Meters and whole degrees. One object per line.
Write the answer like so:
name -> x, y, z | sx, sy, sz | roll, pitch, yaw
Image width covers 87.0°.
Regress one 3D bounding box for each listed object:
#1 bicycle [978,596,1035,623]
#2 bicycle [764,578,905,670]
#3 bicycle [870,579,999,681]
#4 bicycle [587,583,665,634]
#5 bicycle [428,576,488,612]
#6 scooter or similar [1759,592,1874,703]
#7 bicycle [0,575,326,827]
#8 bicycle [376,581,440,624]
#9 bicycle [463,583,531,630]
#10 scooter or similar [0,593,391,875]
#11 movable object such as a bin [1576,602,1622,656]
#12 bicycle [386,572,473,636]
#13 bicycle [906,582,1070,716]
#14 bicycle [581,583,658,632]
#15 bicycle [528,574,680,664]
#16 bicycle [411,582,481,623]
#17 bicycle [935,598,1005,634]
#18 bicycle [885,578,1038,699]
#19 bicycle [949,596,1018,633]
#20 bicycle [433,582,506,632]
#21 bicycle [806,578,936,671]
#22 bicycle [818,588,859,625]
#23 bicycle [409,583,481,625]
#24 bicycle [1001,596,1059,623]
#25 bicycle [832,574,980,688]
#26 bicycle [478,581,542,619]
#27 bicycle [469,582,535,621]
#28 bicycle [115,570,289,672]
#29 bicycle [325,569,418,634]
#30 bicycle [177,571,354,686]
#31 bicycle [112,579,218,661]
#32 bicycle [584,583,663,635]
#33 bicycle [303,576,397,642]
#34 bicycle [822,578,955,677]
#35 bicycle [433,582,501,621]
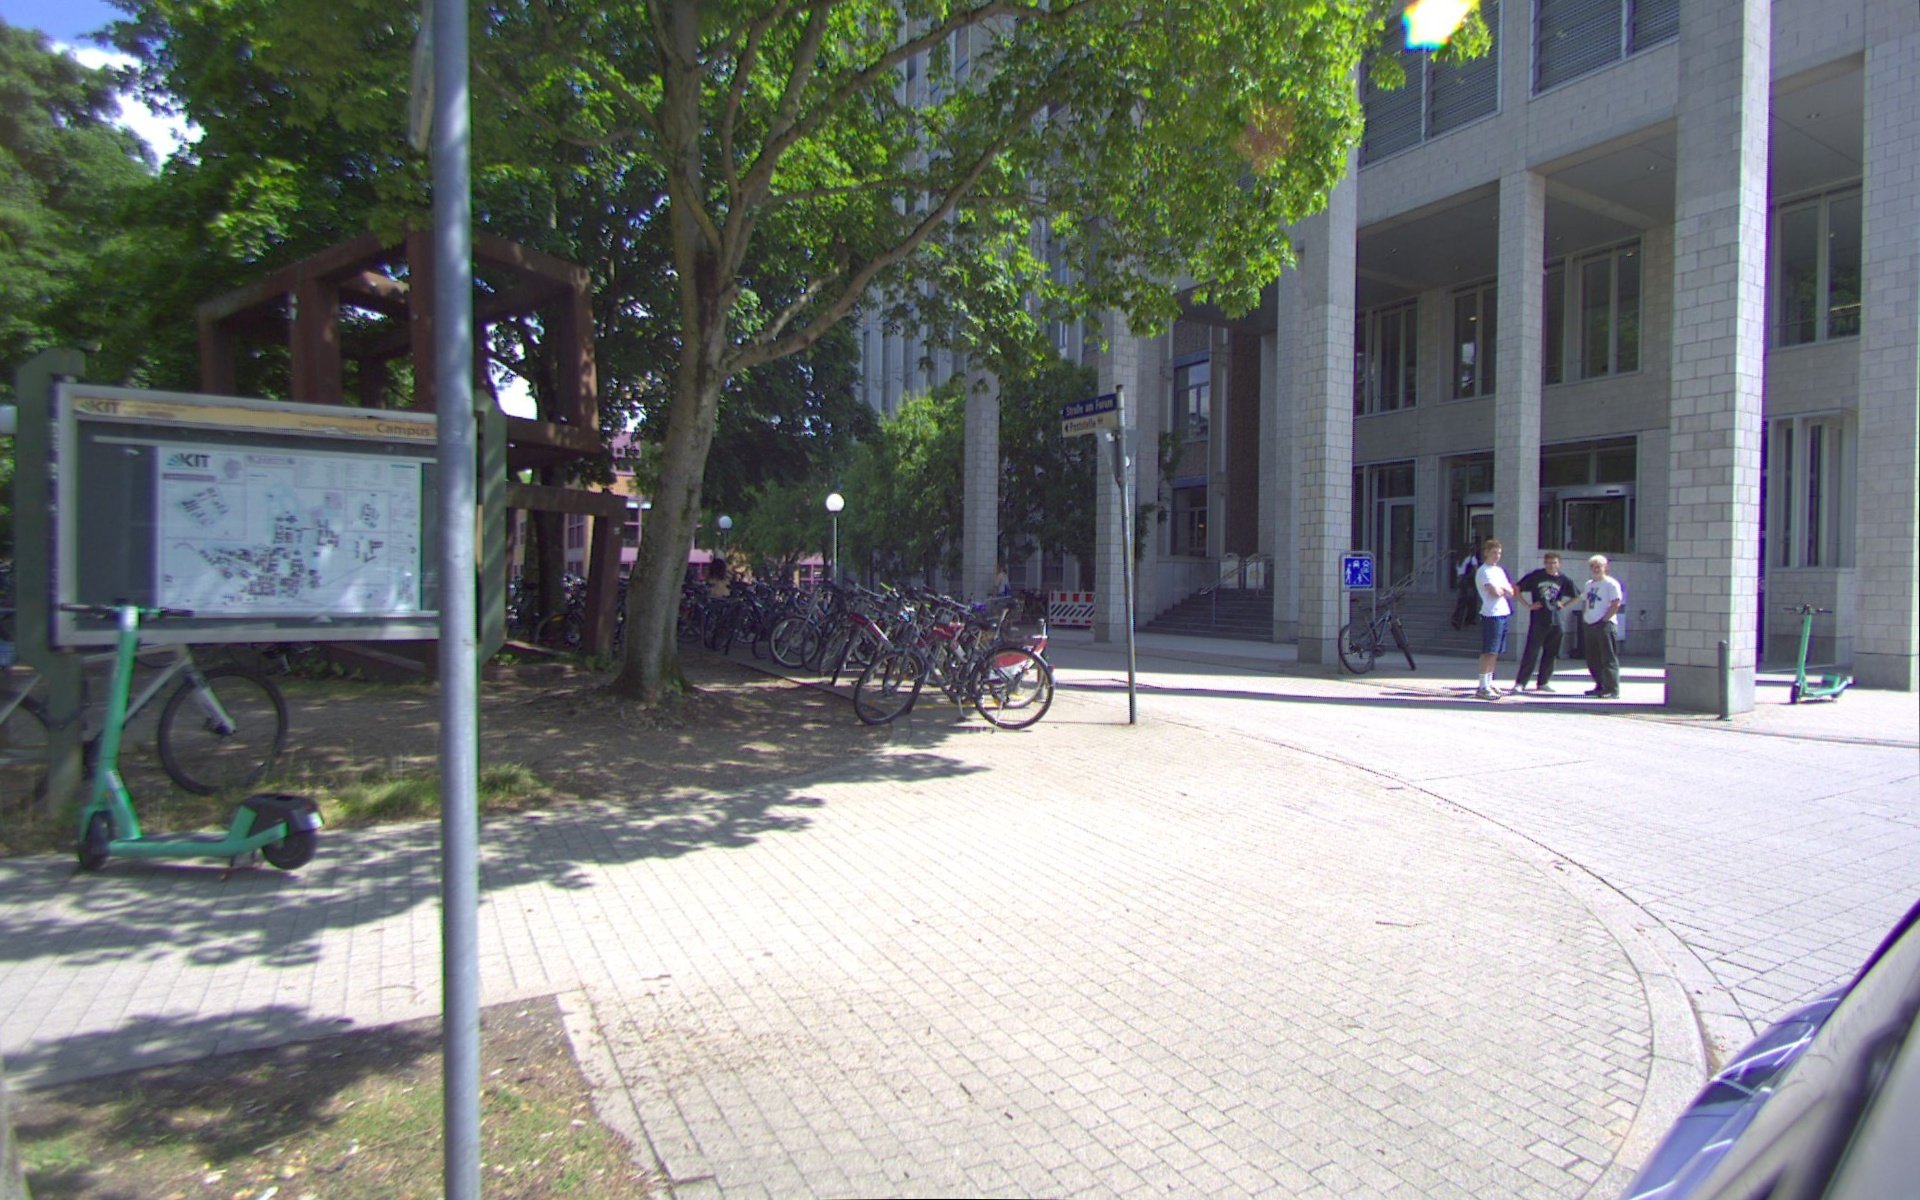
bicycle -> 1.450, 0.286, 31.890 | 0.632, 0.769, 1.988 | 1, 1, -39
bicycle -> -1.584, 0.310, 12.840 | 1.661, 1.099, 0.483 | 2, 1, -25
bicycle -> -0.282, 0.336, 11.596 | 1.412, 1.099, 0.461 | 2, 1, -33
bicycle -> -7.767, 0.208, 23.554 | 1.656, 1.144, 0.478 | 1, -3, -35
bicycle -> -15.522, -0.182, 31.302 | 1.659, 1.098, 0.477 | 0, -2, 7
scooter or similar -> 10.282, 0.538, 12.136 | 1.481, 1.226, 0.565 | 0, 3, -31
bicycle -> -4.308, 0.459, 5.171 | 0.625, 1.097, 1.667 | -2, 2, 37
bicycle -> -14.363, 0.061, 26.323 | 1.443, 1.098, 0.353 | 0, -2, -2
bicycle -> -11.055, 0.150, 24.203 | 1.447, 1.097, 0.352 | 0, 0, -43
scooter or similar -> -3.312, 0.558, 4.413 | 1.335, 1.128, 0.498 | 2, 0, -5
movable object such as a bin -> 12.076, 0.544, 19.124 | 0.502, 0.961, 0.514 | 1, 3, -32
bicycle -> -10.299, 0.068, 19.627 | 1.823, 1.185, 0.411 | 1, 0, 22
bicycle -> 0.271, 0.417, 9.477 | 1.461, 1.155, 0.562 | -1, 3, -33
bicycle -> -8.082, 0.191, 24.049 | 1.656, 1.144, 0.478 | 1, -3, -35
bicycle -> -4.578, 0.246, 13.052 | 1.789, 1.091, 0.465 | 2, 1, -22
bicycle -> -13.940, 0.082, 27.455 | 1.657, 1.098, 0.478 | 0, -2, 2
bicycle -> 0.249, 0.404, 26.018 | 1.739, 0.911, 0.449 | 1, -1, -11
bicycle -> 0.027, 0.386, 10.409 | 1.460, 1.155, 0.562 | 2, 1, -33
bicycle -> 0.594, 0.353, 25.250 | 1.740, 0.911, 0.337 | -1, 0, -25
bicycle -> -11.071, 0.158, 22.847 | 1.443, 1.097, 0.353 | 0, 0, -34
bicycle -> -1.097, 0.304, 12.551 | 1.484, 1.099, 0.483 | 2, 1, -25
bicycle -> -3.827, 0.206, 31.794 | 0.559, 1.117, 1.835 | 2, -1, -32
bicycle -> -13.709, 0.117, 26.960 | 1.657, 1.098, 0.478 | 0, -2, 2
bicycle -> 2.208, 0.296, 32.162 | 0.632, 0.769, 1.988 | 1, 1, -39
bicycle -> -0.591, 0.327, 10.903 | 1.494, 1.155, 0.493 | 2, 1, -10
bicycle -> -13.133, 0.011, 29.523 | 1.657, 1.098, 0.478 | 0, -2, 2
bicycle -> -13.138, 0.035, 29.046 | 1.657, 1.098, 0.478 | 0, -2, 2
bicycle -> -9.040, 0.212, 12.148 | 0.470, 1.123, 1.658 | 0, 2, 23
bicycle -> -11.128, 0.022, 19.124 | 1.819, 1.185, 0.344 | 1, 0, 16
bicycle -> -7.299, 0.266, 10.623 | 1.903, 1.123, 0.627 | 0, 1, 24
bicycle -> -12.087, 0.285, 15.373 | 1.823, 1.185, 0.411 | 1, 0, 22
bicycle -> -7.638, 0.223, 23.005 | 1.656, 1.144, 0.454 | 1, -3, -35
bicycle -> -11.349, 0.163, 18.826 | 1.819, 1.185, 0.344 | 1, 0, 16
bicycle -> -0.826, 0.319, 11.827 | 1.444, 1.099, 0.461 | 2, 1, -29
bicycle -> -13.766, 0.047, 28.282 | 1.657, 1.098, 0.478 | 0, -2, 2
